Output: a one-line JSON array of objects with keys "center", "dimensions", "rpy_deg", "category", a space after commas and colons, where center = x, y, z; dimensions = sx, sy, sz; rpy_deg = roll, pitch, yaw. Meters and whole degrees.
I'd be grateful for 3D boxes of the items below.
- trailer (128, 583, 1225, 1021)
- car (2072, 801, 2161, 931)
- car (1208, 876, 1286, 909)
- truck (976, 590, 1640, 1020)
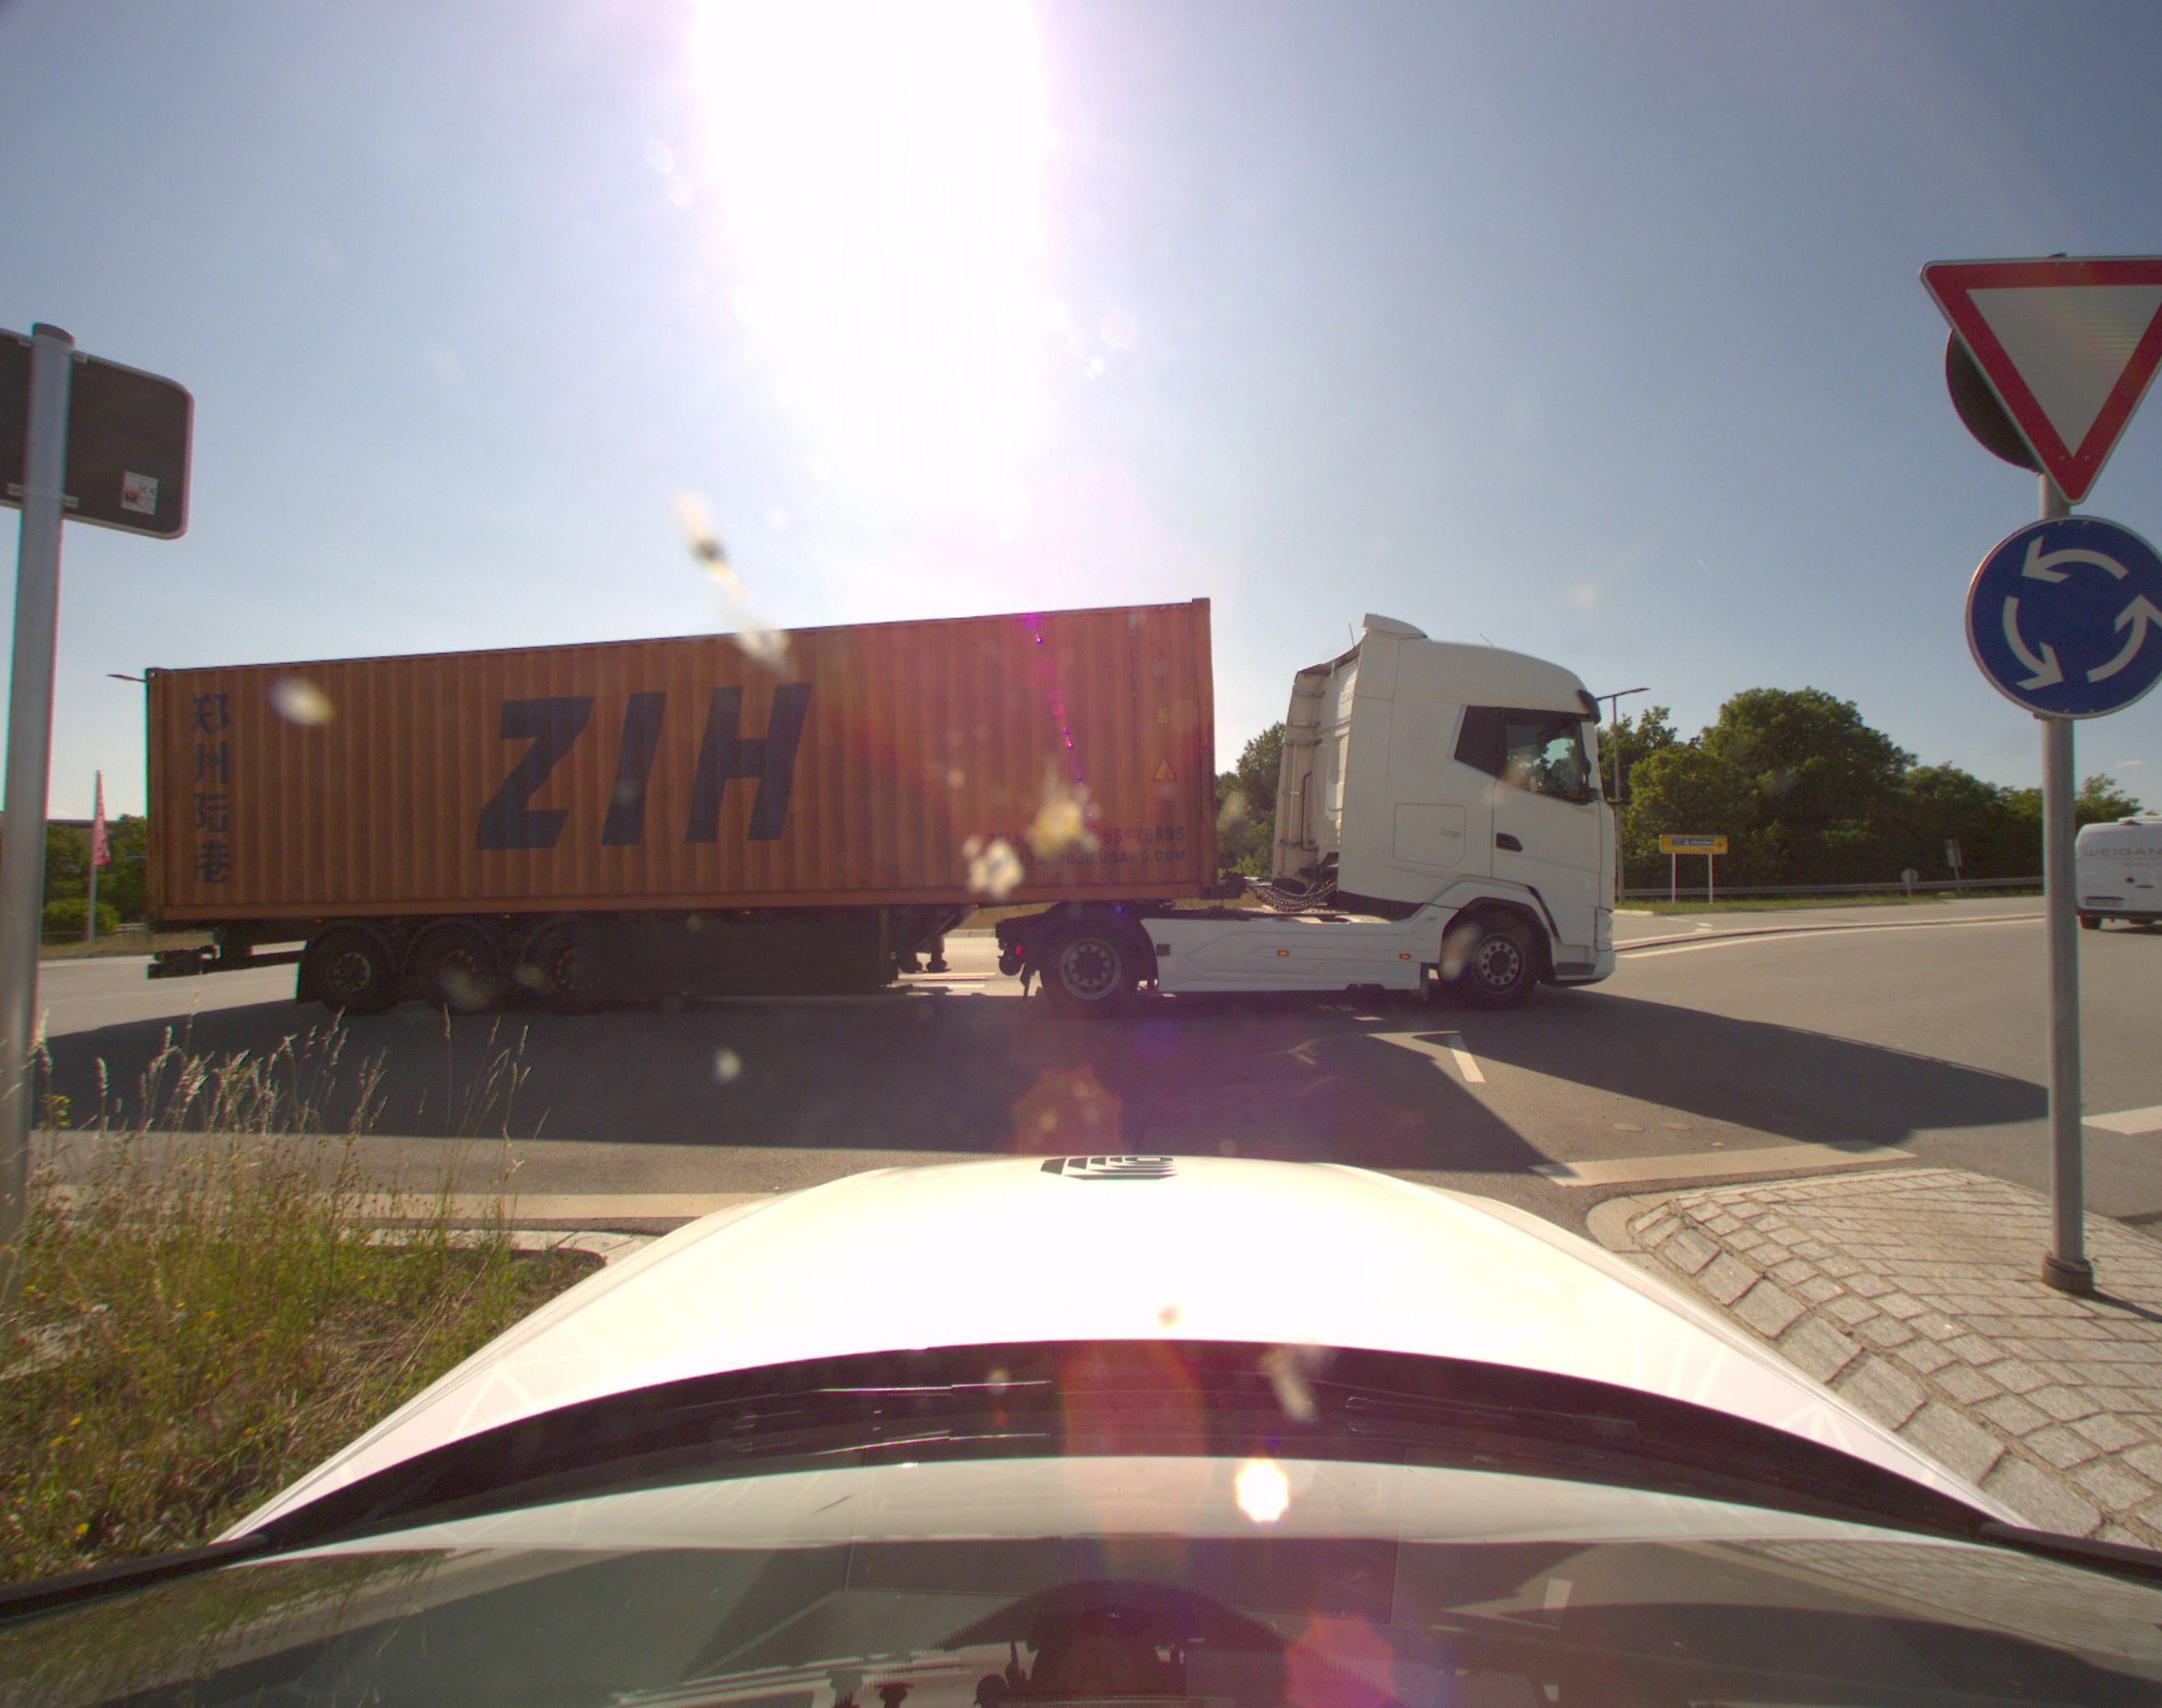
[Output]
[{"center": [-4.571, -0.370, 9.769], "dimensions": [12.252, 4.154, 2.566], "rpy_deg": [-1, -1, 7], "category": "trailer"}, {"center": [26.847, 0.294, 20.118], "dimensions": [6.158, 2.921, 2.064], "rpy_deg": [1, -2, -31], "category": "car"}, {"center": [8.712, 2.006, 43.157], "dimensions": [1.851, 1.596, 4.288], "rpy_deg": [1, -1, -26], "category": "car"}, {"center": [2.190, -0.488, 9.182], "dimensions": [6.395, 4.107, 2.661], "rpy_deg": [-1, -1, -2], "category": "truck"}]
